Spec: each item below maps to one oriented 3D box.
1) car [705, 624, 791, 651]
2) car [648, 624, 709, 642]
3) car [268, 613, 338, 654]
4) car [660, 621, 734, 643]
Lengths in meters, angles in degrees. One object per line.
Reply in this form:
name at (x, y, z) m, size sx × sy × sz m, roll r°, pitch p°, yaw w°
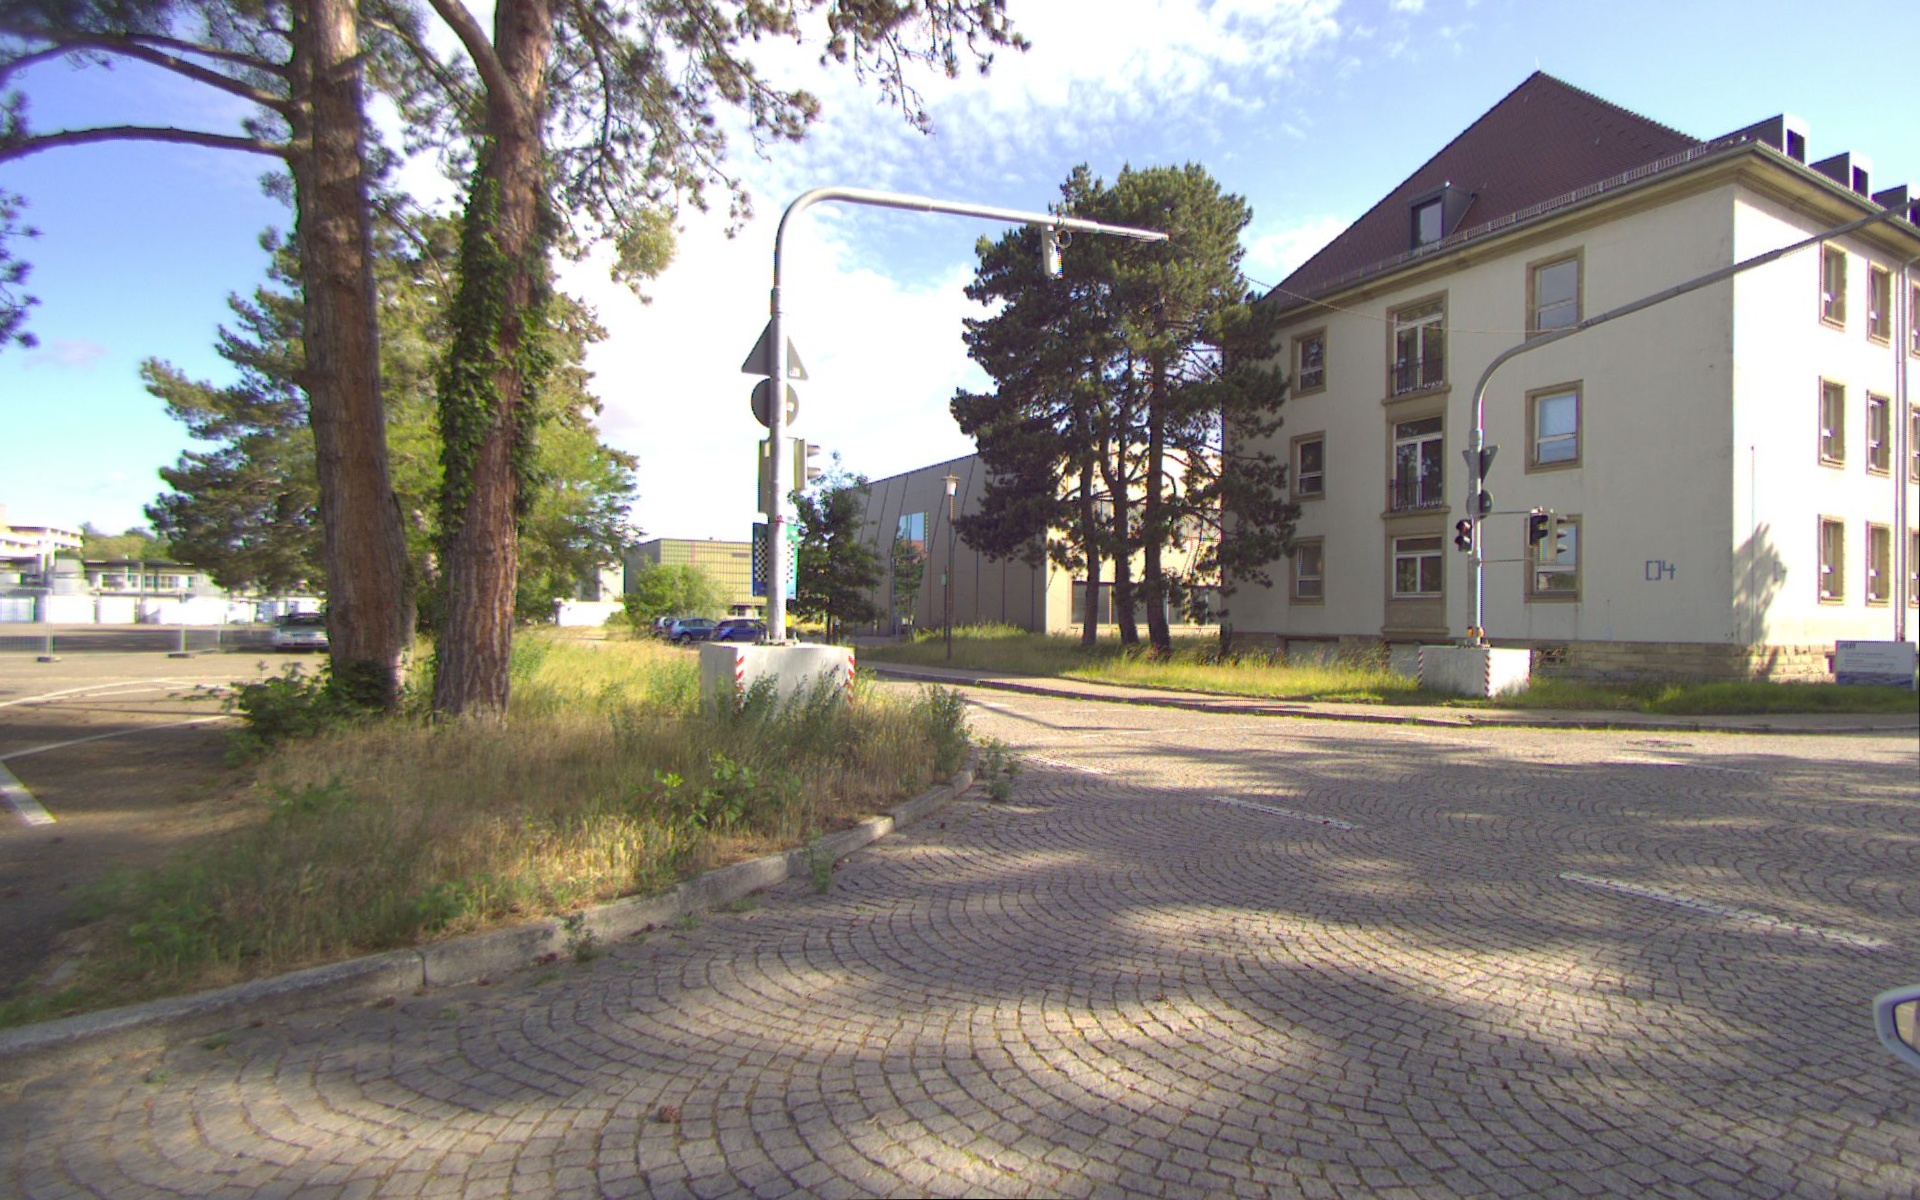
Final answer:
car at (-10.621, 1.862, 50.330) m, size 3.999 × 1.311 × 1.481 m, roll 1°, pitch -1°, yaw -28°
car at (-18.248, 2.101, 65.021) m, size 3.631 × 1.090 × 1.400 m, roll 0°, pitch -1°, yaw -27°
car at (-23.857, 1.190, 36.572) m, size 1.725 × 1.388 × 3.597 m, roll 1°, pitch -1°, yaw -27°
car at (-15.261, 1.875, 58.408) m, size 3.948 × 1.221 × 1.482 m, roll 1°, pitch -1°, yaw -27°
